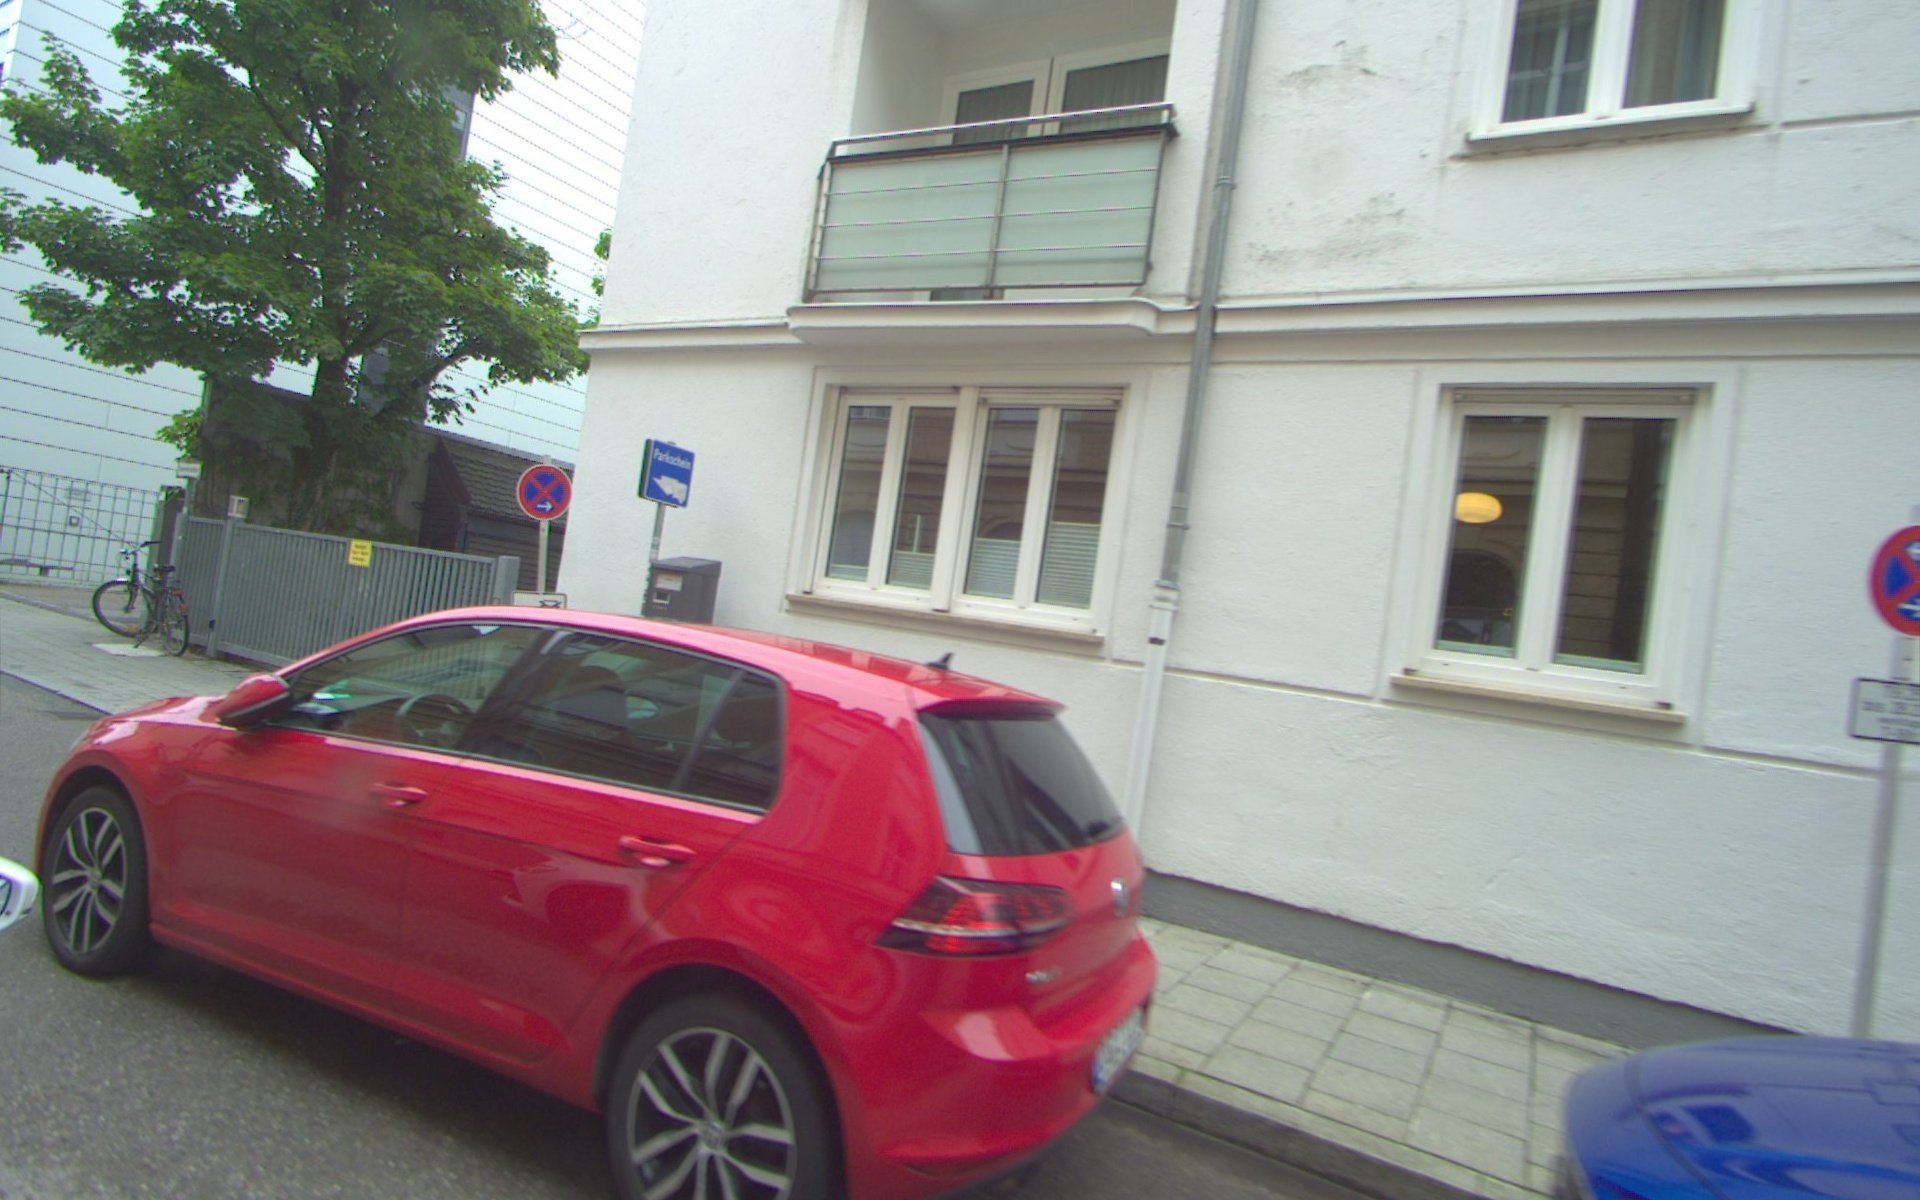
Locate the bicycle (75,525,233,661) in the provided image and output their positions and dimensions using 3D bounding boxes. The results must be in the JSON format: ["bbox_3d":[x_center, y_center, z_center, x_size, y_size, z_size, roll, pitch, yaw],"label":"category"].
[{"bbox_3d":[-9.248,-0.090,11.526,1.802,1.212,0.709,11,0,31],"label":"bicycle"}]

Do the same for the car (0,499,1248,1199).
[{"bbox_3d":[-1.346,0.712,3.581,4.221,1.462,1.768,7,-3,24],"label":"car"}]

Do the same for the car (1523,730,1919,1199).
[{"bbox_3d":[3.097,1.245,1.045,4.310,1.454,1.800,7,-4,32],"label":"car"}]
